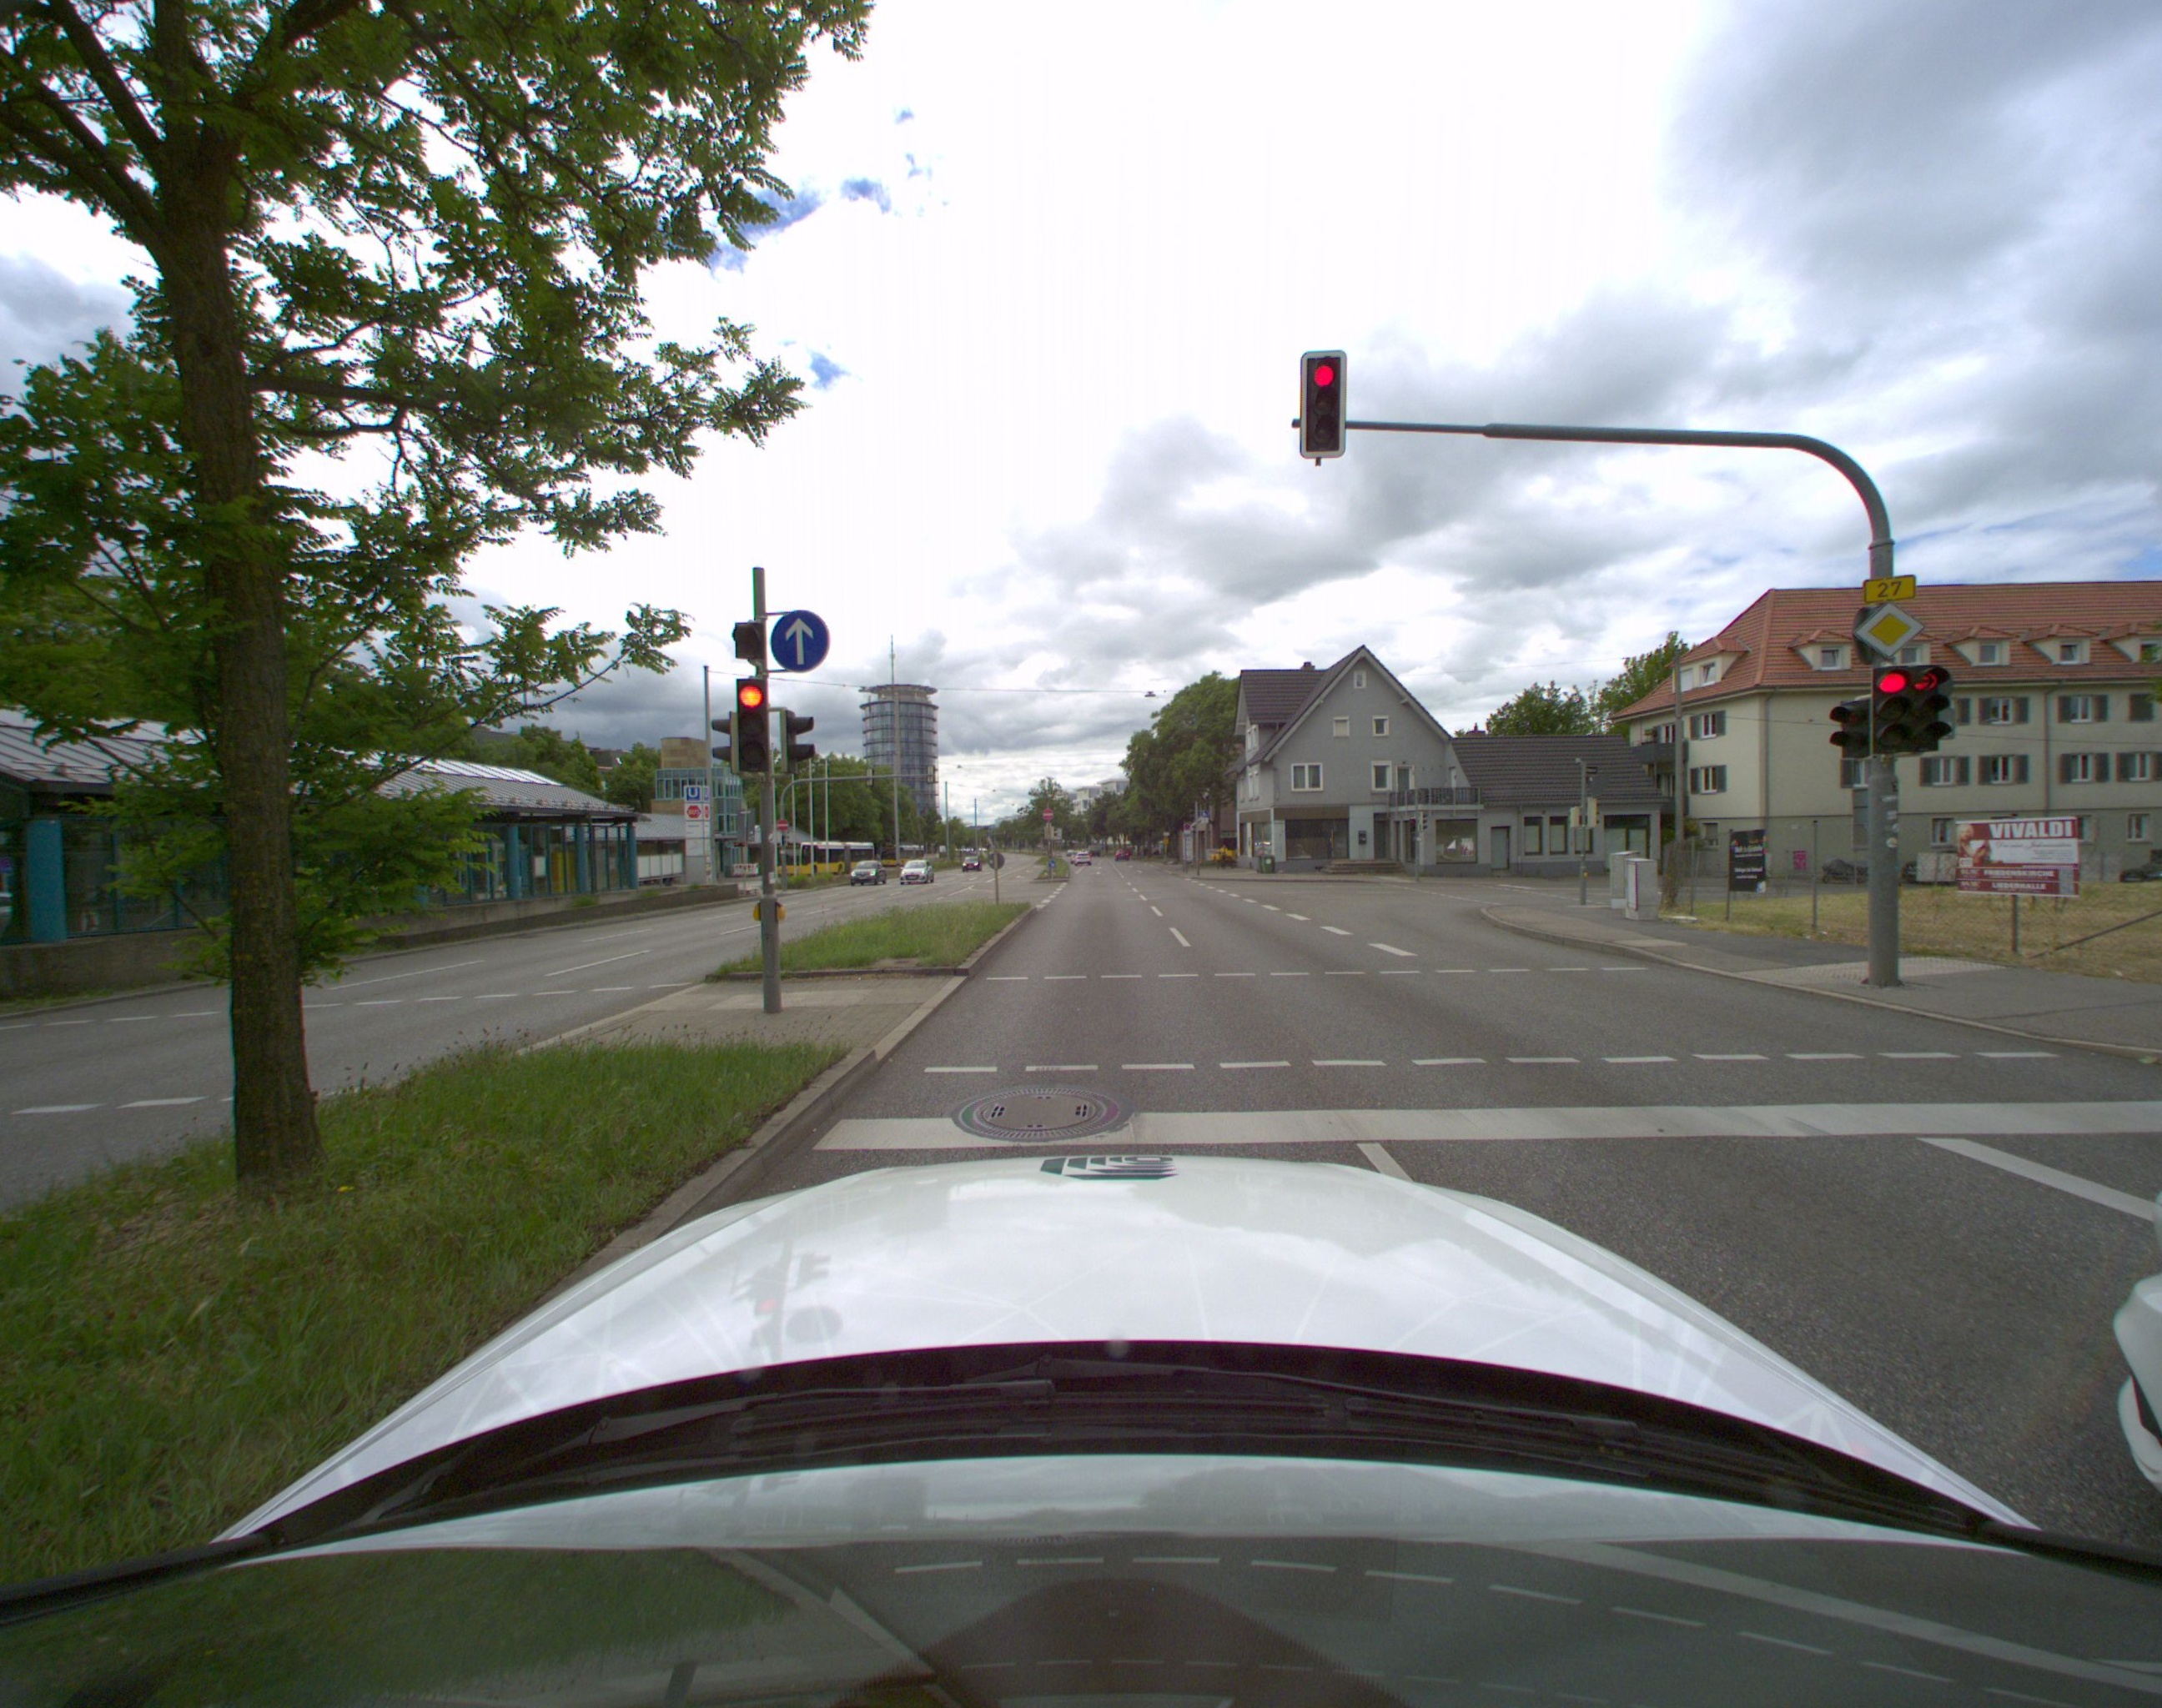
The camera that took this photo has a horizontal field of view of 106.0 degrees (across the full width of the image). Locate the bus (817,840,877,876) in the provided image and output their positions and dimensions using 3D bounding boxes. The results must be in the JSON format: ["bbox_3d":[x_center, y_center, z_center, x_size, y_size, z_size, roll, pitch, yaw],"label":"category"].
[{"bbox_3d":[-23.356,0.377,81.862,2.975,3.270,7.889,-2,0,6],"label":"bus"}]

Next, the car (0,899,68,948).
[{"bbox_3d":[-28.438,1.837,20.141,1.818,1.168,3.997,-2,0,-2],"label":"car"}]

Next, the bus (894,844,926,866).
[{"bbox_3d":[-26.044,0.132,124.320,3.134,3.225,7.765,-2,0,0],"label":"bus"}]

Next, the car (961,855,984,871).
[{"bbox_3d":[-10.812,0.906,81.543,1.696,1.492,3.562,-2,0,1],"label":"car"}]

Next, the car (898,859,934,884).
[{"bbox_3d":[-10.342,1.060,51.317,1.680,1.462,3.552,-2,0,-3],"label":"car"}]

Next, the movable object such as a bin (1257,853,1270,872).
[{"bbox_3d":[10.036,0.469,44.744,0.527,0.979,0.737,-2,0,2],"label":"movable object such as a bin"}]

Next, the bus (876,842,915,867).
[{"bbox_3d":[-26.101,0.106,115.311,3.135,3.225,10.282,-2,0,0],"label":"bus"}]

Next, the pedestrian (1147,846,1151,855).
[{"bbox_3d":[11.324,-0.615,135.576,0.649,1.570,0.669,-2,0,-6],"label":"pedestrian"}]

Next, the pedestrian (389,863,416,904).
[{"bbox_3d":[-27.863,1.192,33.460,0.520,1.655,0.709,-1,0,-5],"label":"pedestrian"}]

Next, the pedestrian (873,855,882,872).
[{"bbox_3d":[-23.581,1.110,94.327,0.677,1.897,0.667,-2,0,26],"label":"pedestrian"}]

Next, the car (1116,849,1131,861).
[{"bbox_3d":[5.651,0.149,109.181,1.882,1.494,4.100,-3,-1,2],"label":"car"}]

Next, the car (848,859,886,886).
[{"bbox_3d":[-13.495,1.152,51.528,1.681,1.578,3.344,-2,0,-4],"label":"car"}]

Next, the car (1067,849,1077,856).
[{"bbox_3d":[-1.921,-0.348,173.468,1.963,1.420,4.017,-2,0,-3],"label":"car"}]

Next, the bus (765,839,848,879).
[{"bbox_3d":[-24.327,0.410,72.862,2.975,3.250,10.186,-2,0,6],"label":"bus"}]

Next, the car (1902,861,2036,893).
[{"bbox_3d":[39.811,1.021,36.576,3.972,1.377,1.871,0,0,2],"label":"car"}]

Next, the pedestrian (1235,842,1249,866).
[{"bbox_3d":[12.159,0.013,61.452,0.698,1.780,0.876,-2,0,33],"label":"pedestrian"}]

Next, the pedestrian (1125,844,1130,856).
[{"bbox_3d":[9.460,-0.851,165.021,0.930,2.308,1.008,0,-1,-8],"label":"pedestrian"}]

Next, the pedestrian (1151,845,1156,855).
[{"bbox_3d":[12.124,-0.651,135.568,0.649,1.570,0.669,-2,0,-6],"label":"pedestrian"}]

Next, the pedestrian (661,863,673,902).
[{"bbox_3d":[-17.293,1.176,34.006,0.420,1.591,0.353,-2,0,-28],"label":"pedestrian"}]

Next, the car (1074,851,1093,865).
[{"bbox_3d":[0.284,0.418,91.731,1.986,1.477,4.257,-2,0,1],"label":"car"}]

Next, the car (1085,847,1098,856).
[{"bbox_3d":[2.087,-0.467,165.280,2.246,1.757,4.928,-2,0,-3],"label":"car"}]

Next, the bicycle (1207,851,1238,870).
[{"bbox_3d":[9.693,0.416,55.597,1.063,1.217,2.455,-2,0,36],"label":"bicycle"}]

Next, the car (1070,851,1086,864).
[{"bbox_3d":[-0.420,0.430,102.948,1.818,1.540,4.111,-2,0,-2],"label":"car"}]

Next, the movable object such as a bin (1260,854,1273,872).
[{"bbox_3d":[10.030,0.479,43.953,0.527,0.979,0.737,-2,0,2],"label":"movable object such as a bin"}]

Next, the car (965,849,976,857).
[{"bbox_3d":[-27.272,-0.162,201.211,1.958,2.014,4.001,0,-1,2],"label":"car"}]

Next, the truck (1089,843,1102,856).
[{"bbox_3d":[2.745,-0.811,156.667,2.246,2.416,4.928,-1,0,-3],"label":"truck"}]

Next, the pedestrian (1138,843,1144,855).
[{"bbox_3d":[10.203,-0.880,138.428,0.967,2.014,0.981,0,-1,1],"label":"pedestrian"}]

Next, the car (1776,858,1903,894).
[{"bbox_3d":[34.041,0.984,36.614,3.972,1.537,1.871,0,0,2],"label":"car"}]

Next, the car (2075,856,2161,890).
[{"bbox_3d":[46.127,0.806,35.271,3.975,1.377,1.870,0,0,-1],"label":"car"}]

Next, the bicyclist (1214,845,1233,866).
[{"bbox_3d":[9.731,0.113,55.684,1.063,1.357,0.632,-2,0,37],"label":"bicyclist"}]

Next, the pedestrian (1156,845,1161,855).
[{"bbox_3d":[12.890,-0.663,135.435,0.649,1.570,0.669,-2,0,-6],"label":"pedestrian"}]
